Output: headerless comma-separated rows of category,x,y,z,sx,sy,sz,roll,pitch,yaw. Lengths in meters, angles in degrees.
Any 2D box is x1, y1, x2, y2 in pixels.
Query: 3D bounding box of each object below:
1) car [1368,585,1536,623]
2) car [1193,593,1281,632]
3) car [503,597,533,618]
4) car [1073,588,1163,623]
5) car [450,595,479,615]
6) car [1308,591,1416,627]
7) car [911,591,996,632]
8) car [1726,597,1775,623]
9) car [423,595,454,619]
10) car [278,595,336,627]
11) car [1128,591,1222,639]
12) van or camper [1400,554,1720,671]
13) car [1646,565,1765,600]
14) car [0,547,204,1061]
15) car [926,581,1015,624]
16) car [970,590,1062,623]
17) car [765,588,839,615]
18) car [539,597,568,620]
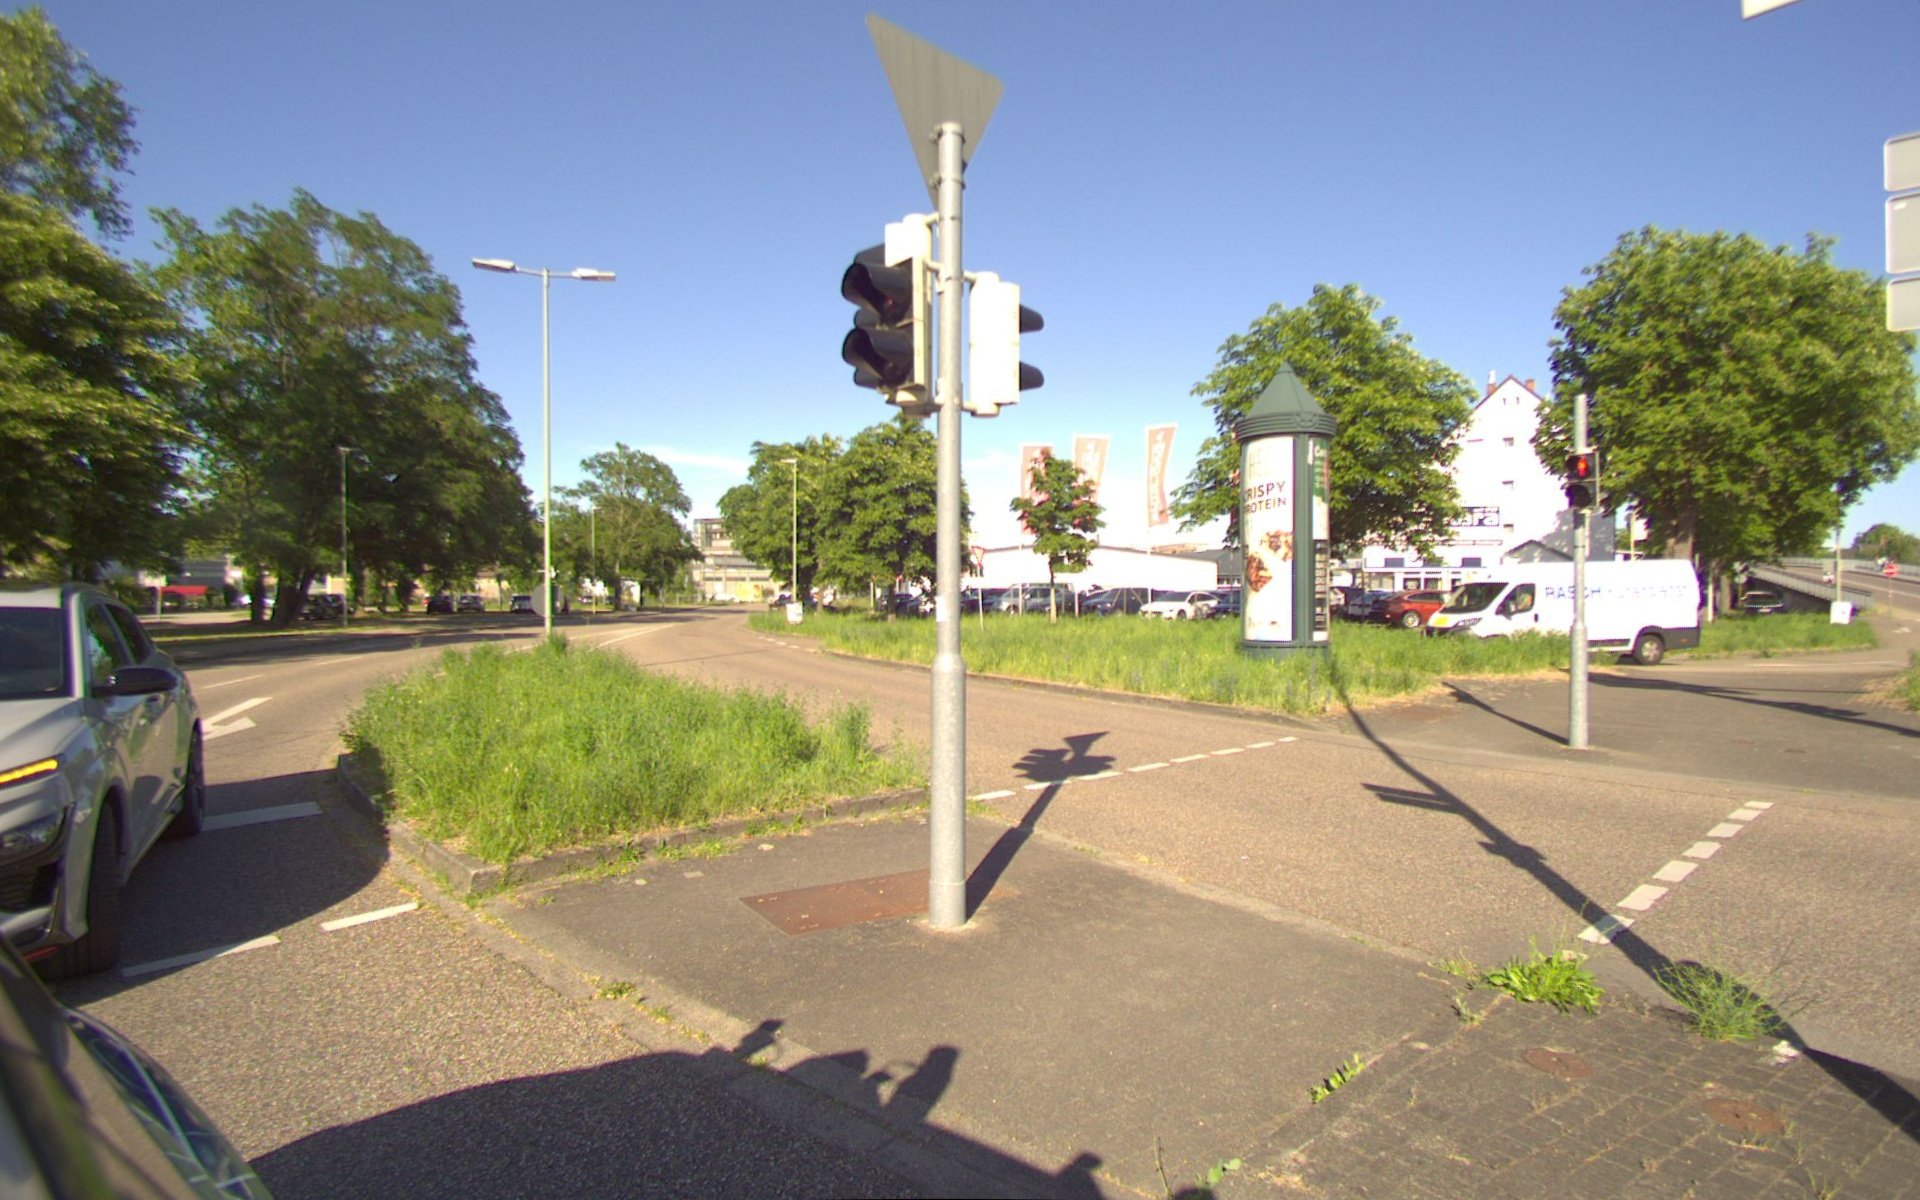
car,17.848,0.130,36.954,4.999,1.320,2.356,-1,1,7
car,11.173,0.479,40.713,1.745,1.473,3.942,-1,0,44
car,-33.649,0.553,77.125,1.965,1.461,4.013,2,0,-23
car,6.894,0.220,43.972,2.001,1.452,3.942,-1,0,44
car,-39.378,0.400,80.559,1.840,1.451,3.495,2,0,-23
car,17.490,0.396,44.162,4.001,1.517,1.807,-1,0,44
car,-0.332,0.575,52.565,3.933,2.029,2.005,-1,1,-34
car,48.316,0.591,61.923,2.039,1.475,4.904,-1,0,34
car,-38.295,0.499,74.390,1.708,1.631,4.013,2,0,-23
car,-38.635,0.613,59.954,1.975,1.809,4.013,-1,1,-19
car,8.939,0.591,41.937,2.001,1.900,3.942,-1,0,44
van or camper,14.597,0.277,24.839,6.505,2.602,2.611,-1,-1,-9
car,34.252,-0.791,46.605,3.969,1.572,1.987,0,1,20
car,-4.759,0.608,4.619,1.687,1.658,4.067,0,1,-31
car,0.520,0.108,49.976,3.933,2.029,2.005,0,0,-33
car,2.645,0.281,47.656,3.931,1.419,1.845,-1,1,-30
car,-9.194,0.098,58.806,3.931,1.541,1.935,0,0,-20
car,-31.300,0.628,77.882,1.965,1.679,4.013,2,0,-23
